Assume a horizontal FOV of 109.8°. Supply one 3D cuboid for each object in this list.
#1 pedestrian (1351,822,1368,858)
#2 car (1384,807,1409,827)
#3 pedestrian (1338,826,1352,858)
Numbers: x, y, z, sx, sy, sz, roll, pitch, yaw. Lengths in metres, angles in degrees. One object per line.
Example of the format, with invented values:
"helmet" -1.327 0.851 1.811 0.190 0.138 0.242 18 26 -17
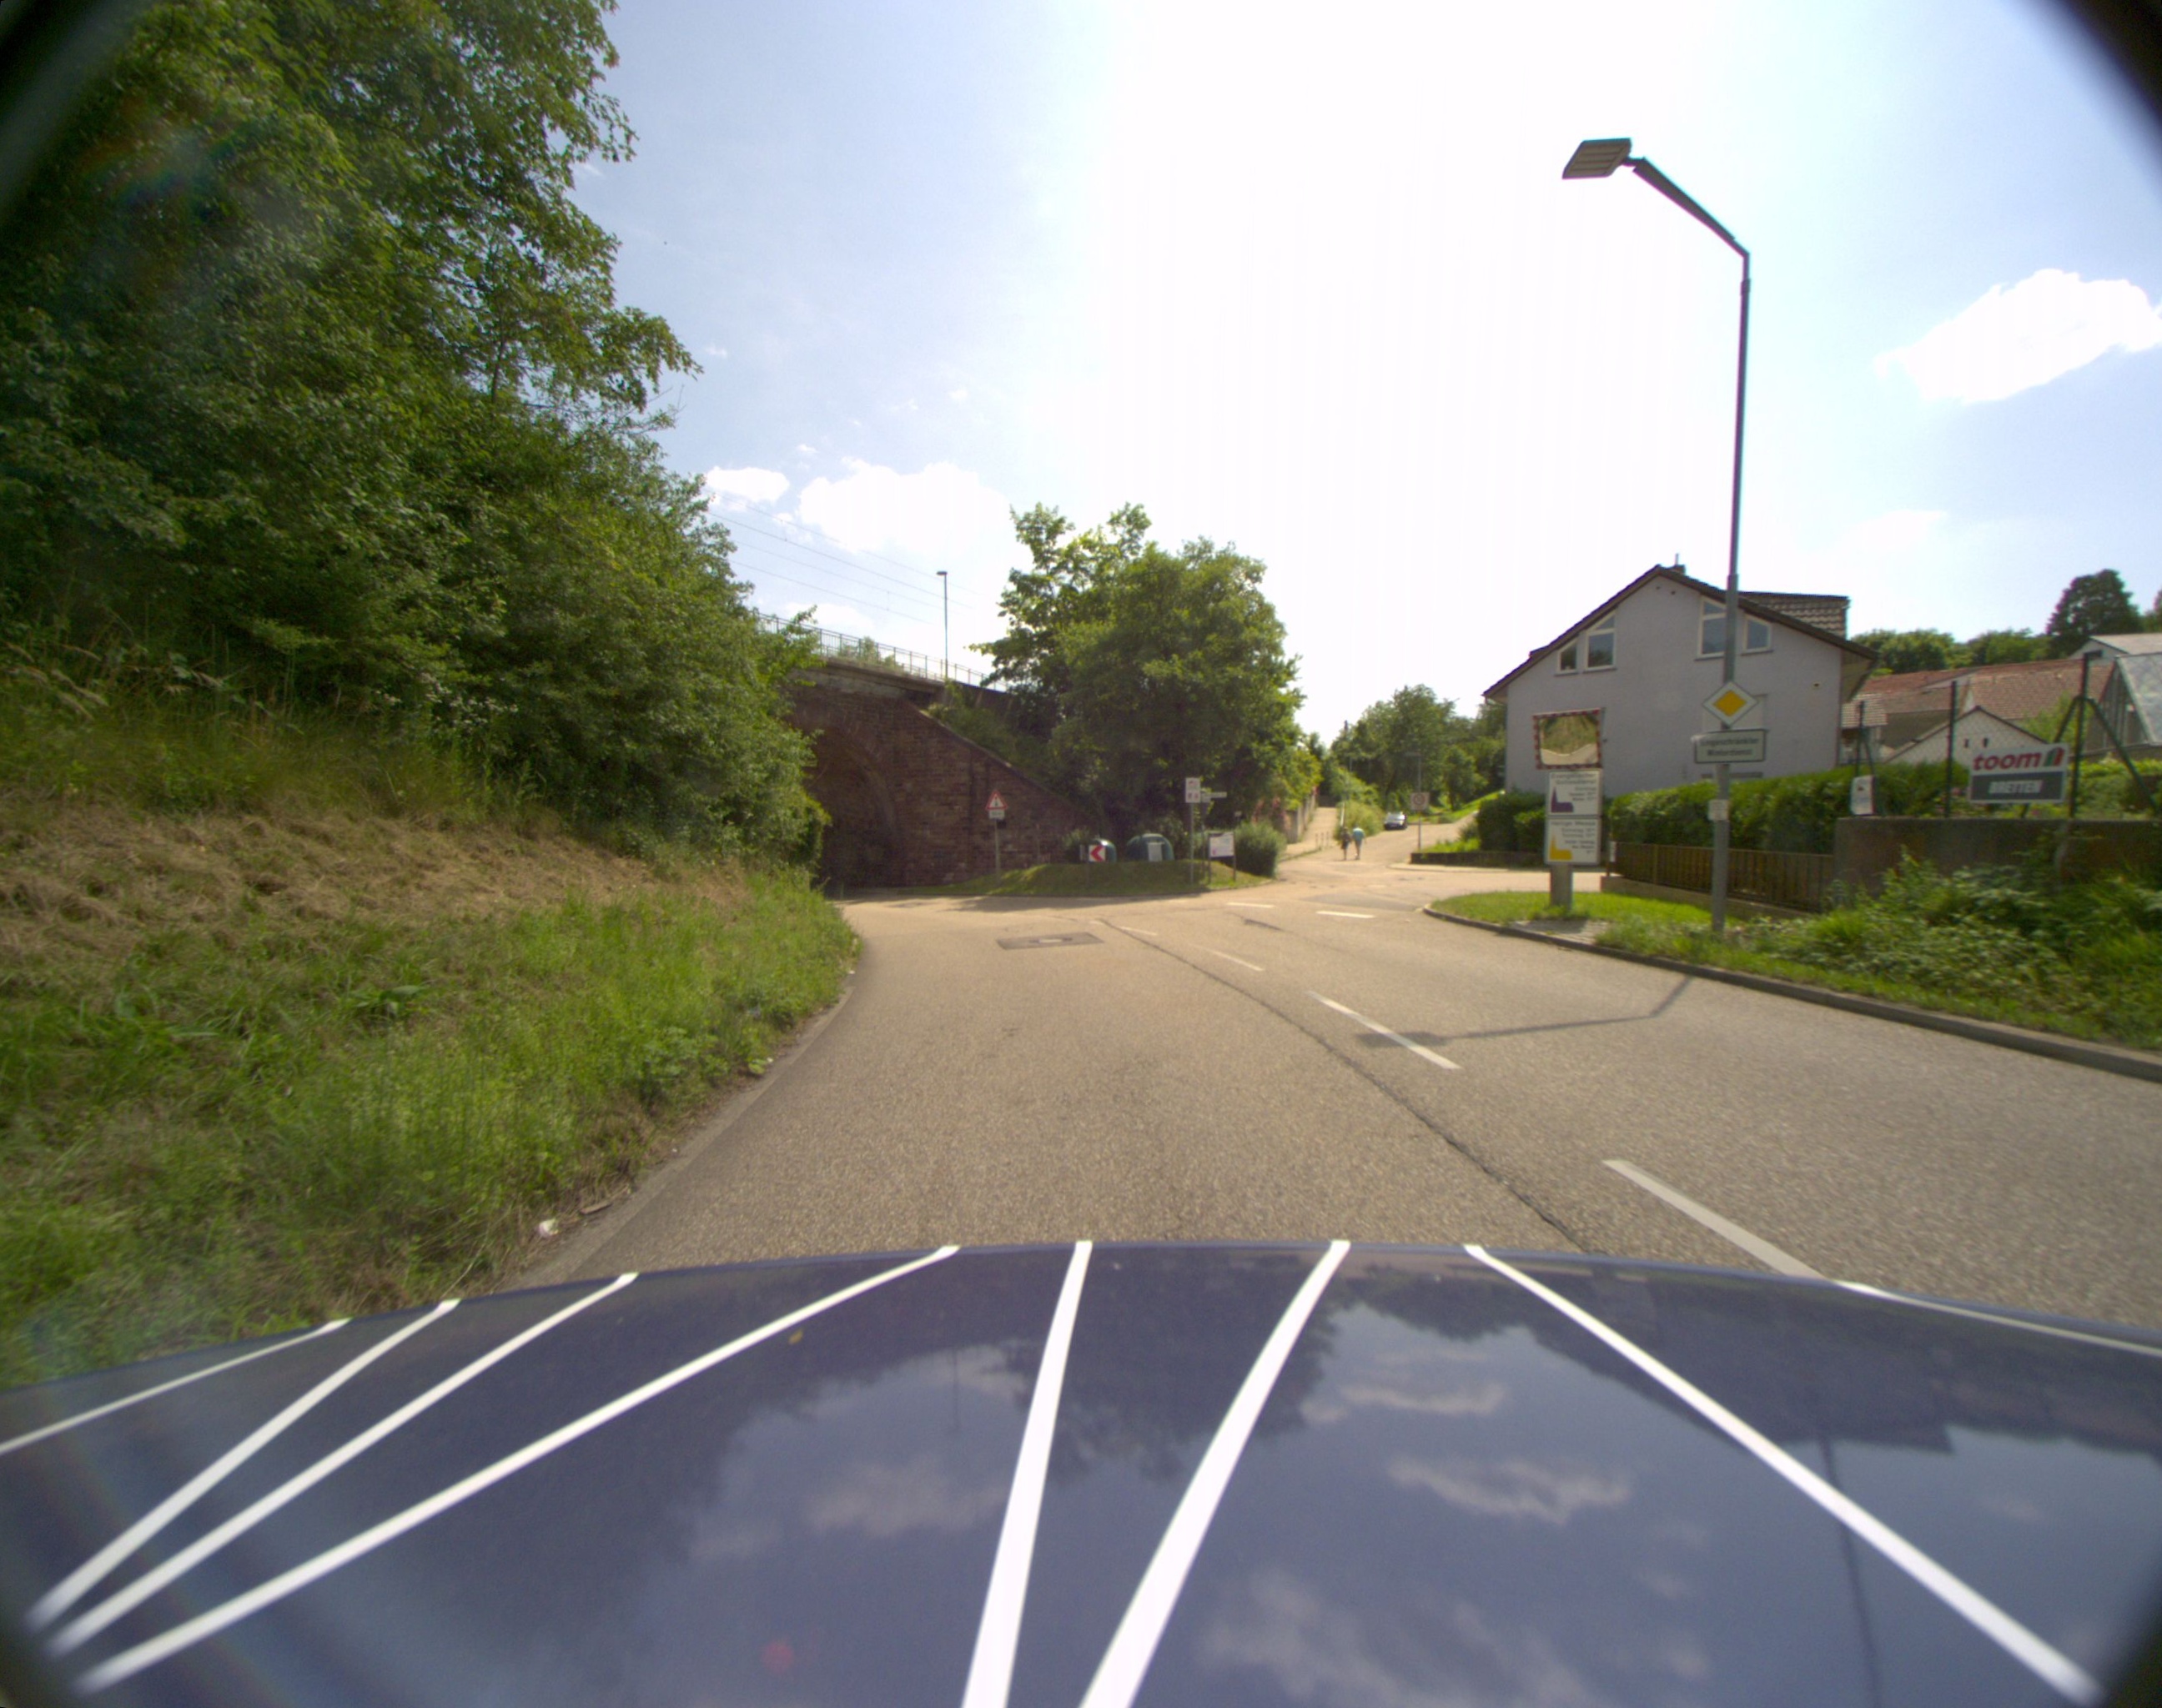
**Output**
"pedestrian" 13.586 -0.693 37.103 0.686 1.703 0.790 -3 2 21
"car" 27.647 -3.212 66.506 1.852 1.633 4.398 -3 1 24
"pedestrian" 12.854 -0.586 36.966 0.573 1.546 0.600 -3 2 21
